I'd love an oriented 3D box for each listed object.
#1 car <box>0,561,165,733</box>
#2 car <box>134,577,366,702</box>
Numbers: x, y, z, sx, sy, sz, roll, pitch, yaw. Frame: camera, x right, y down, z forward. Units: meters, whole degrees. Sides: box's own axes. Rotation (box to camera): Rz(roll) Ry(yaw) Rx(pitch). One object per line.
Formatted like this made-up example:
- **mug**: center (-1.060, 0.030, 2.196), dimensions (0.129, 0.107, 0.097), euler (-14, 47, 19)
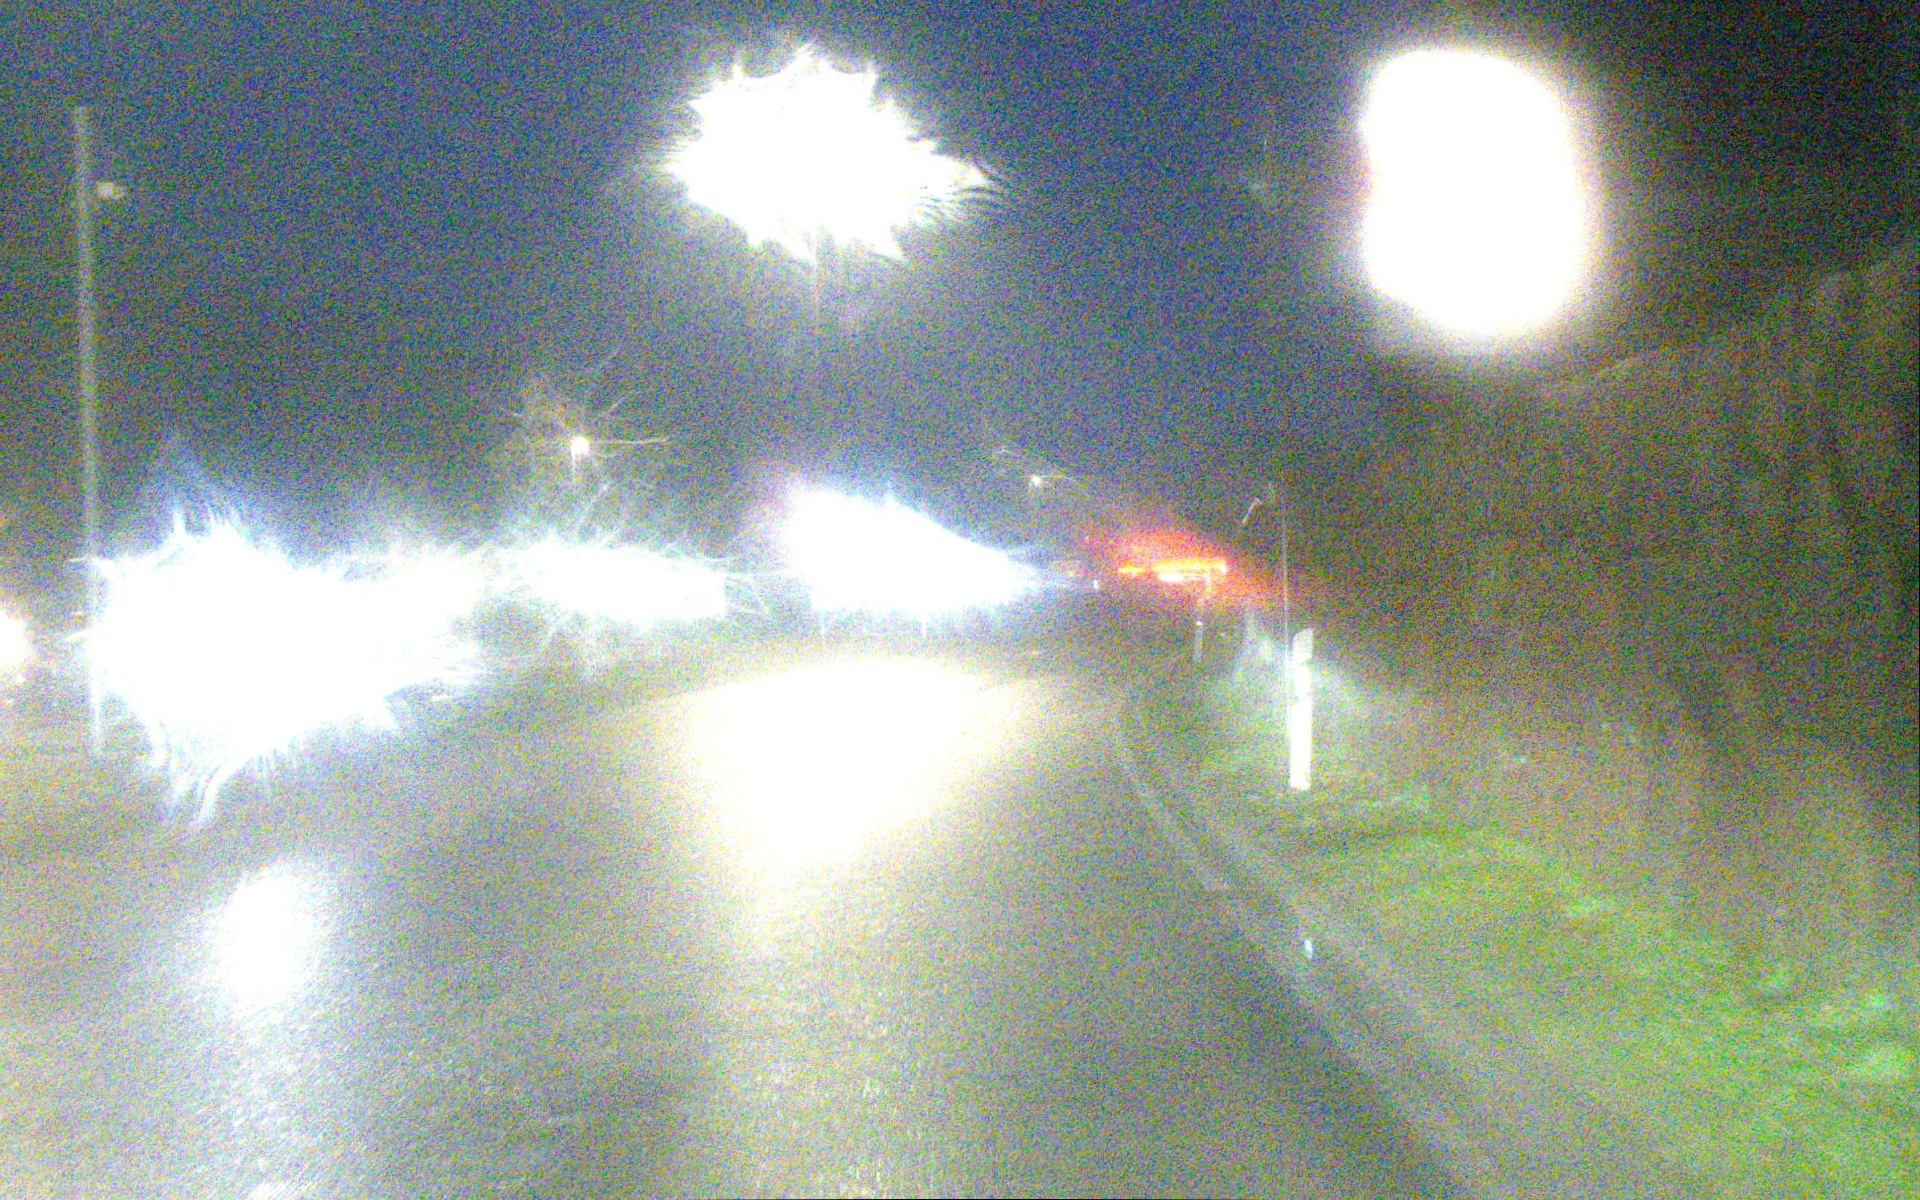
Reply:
- **car**: center (-9.832, 0.481, 36.057), dimensions (1.718, 1.697, 4.142), euler (0, 0, 5)
- **car**: center (-9.067, 0.506, 44.265), dimensions (1.708, 1.529, 4.599), euler (0, -1, 4)
